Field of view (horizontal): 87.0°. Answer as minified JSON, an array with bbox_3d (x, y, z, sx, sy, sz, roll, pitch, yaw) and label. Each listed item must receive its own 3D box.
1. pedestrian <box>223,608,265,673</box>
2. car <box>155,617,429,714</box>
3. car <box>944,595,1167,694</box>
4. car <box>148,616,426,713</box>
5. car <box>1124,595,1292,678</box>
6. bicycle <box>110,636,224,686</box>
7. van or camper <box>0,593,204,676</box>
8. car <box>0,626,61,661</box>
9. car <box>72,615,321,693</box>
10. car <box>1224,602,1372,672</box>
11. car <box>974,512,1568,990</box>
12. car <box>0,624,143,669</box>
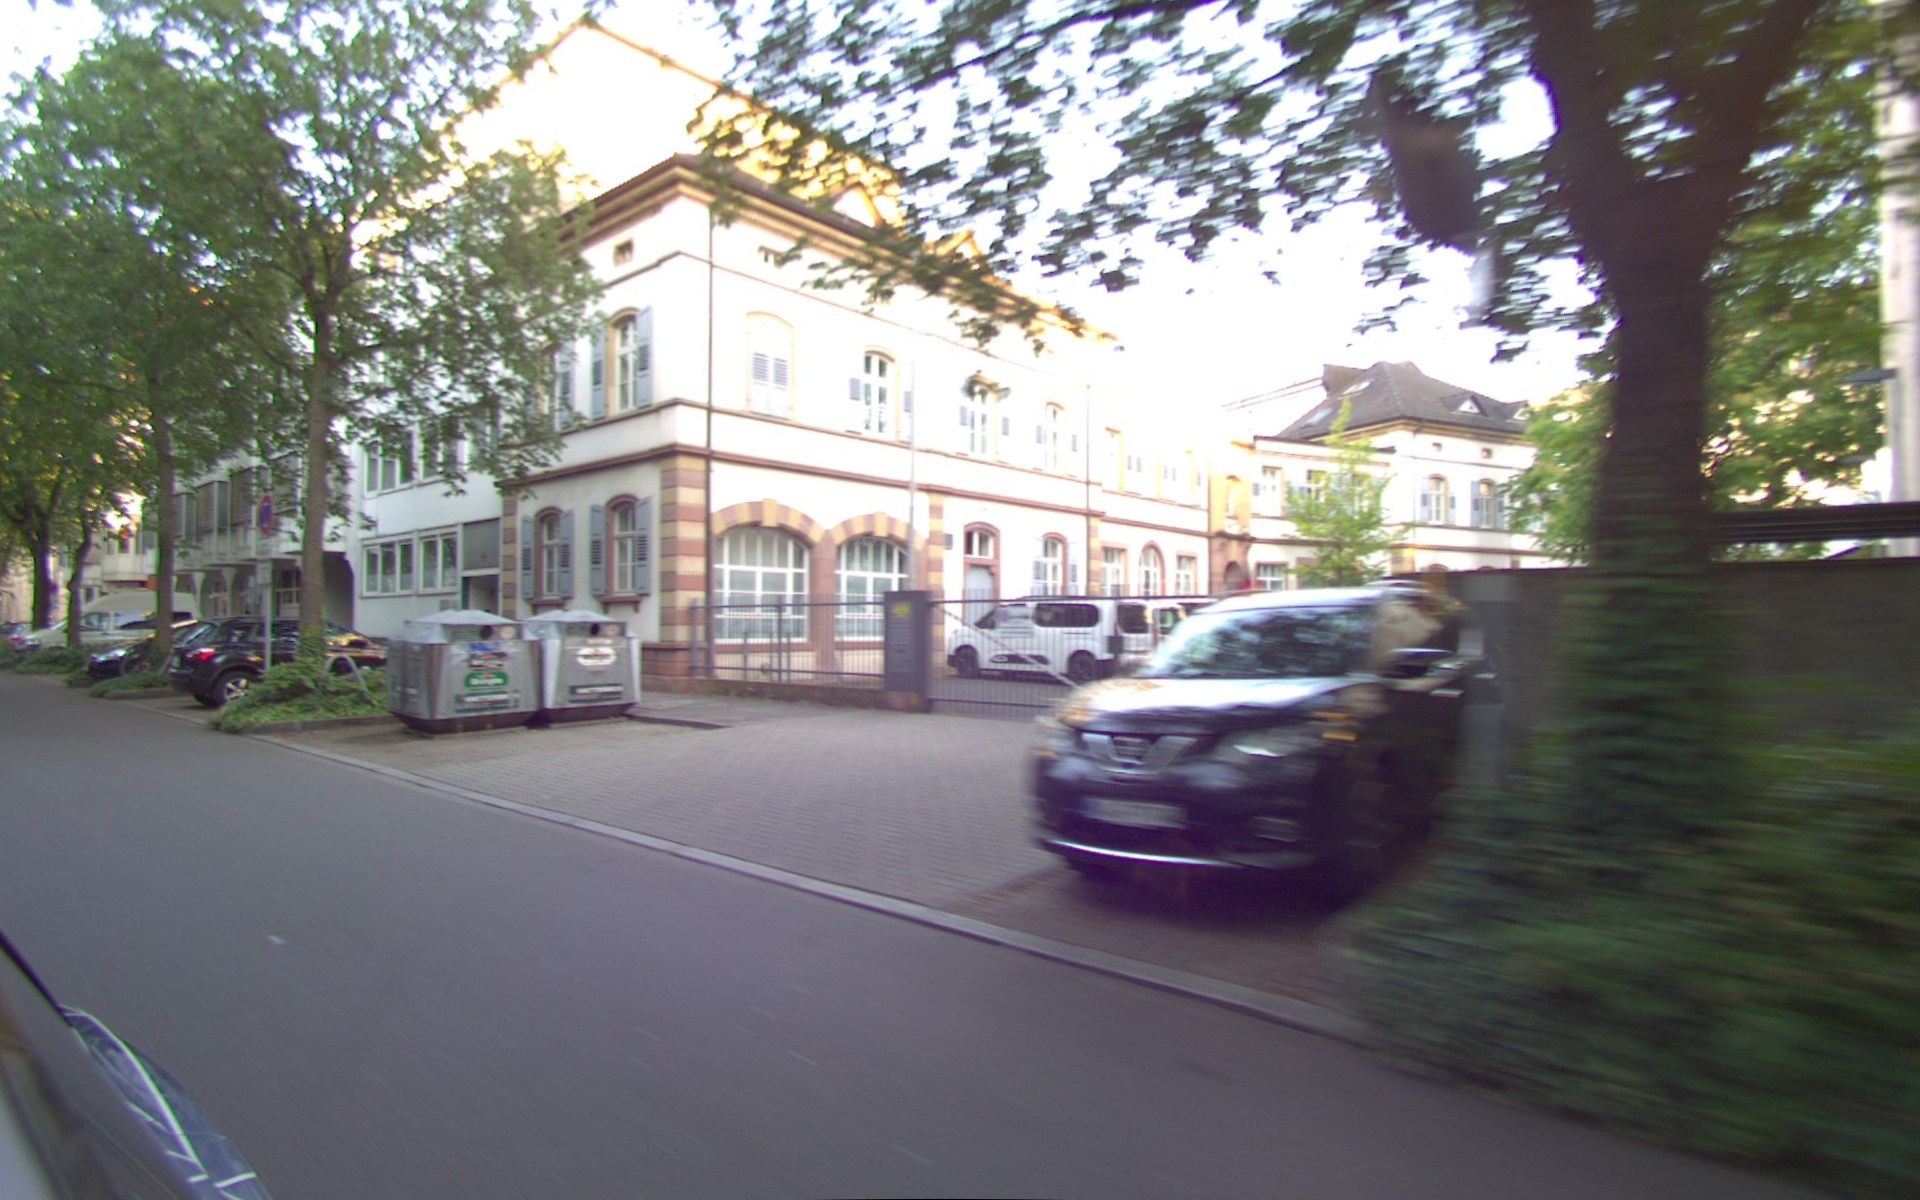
[{"bbox_3d":[-22.845,1.274,32.304,0.839,2.029,0.930,-2,-3,45],"label":"pedestrian"},{"bbox_3d":[-12.320,1.126,18.851,1.788,1.604,3.946,-2,-2,41],"label":"car"},{"bbox_3d":[1.923,0.848,21.237,4.461,1.820,1.763,1,0,41],"label":"car"},{"bbox_3d":[-12.363,1.114,18.794,1.826,1.600,3.948,-2,-2,39],"label":"car"},{"bbox_3d":[6.487,0.937,26.688,3.998,2.029,1.666,-1,-2,41],"label":"car"},{"bbox_3d":[-17.222,1.306,22.023,0.479,1.033,1.882,-2,-3,39],"label":"bicycle"},{"bbox_3d":[-27.371,1.115,32.385,1.944,2.446,4.766,-2,-3,41],"label":"van or camper"},{"bbox_3d":[-49.070,2.209,51.693,1.789,1.772,4.420,-1,-3,38],"label":"car"},{"bbox_3d":[-18.182,1.249,24.310,1.619,1.695,4.492,-1,-3,37],"label":"car"},{"bbox_3d":[10.379,1.111,31.226,3.998,2.029,1.666,-1,-2,41],"label":"car"},{"bbox_3d":[2.250,0.637,6.374,1.999,1.906,4.373,-2,-1,40],"label":"car"},{"bbox_3d":[-33.292,1.699,37.916,1.622,1.539,4.008,-2,-2,44],"label":"car"}]
